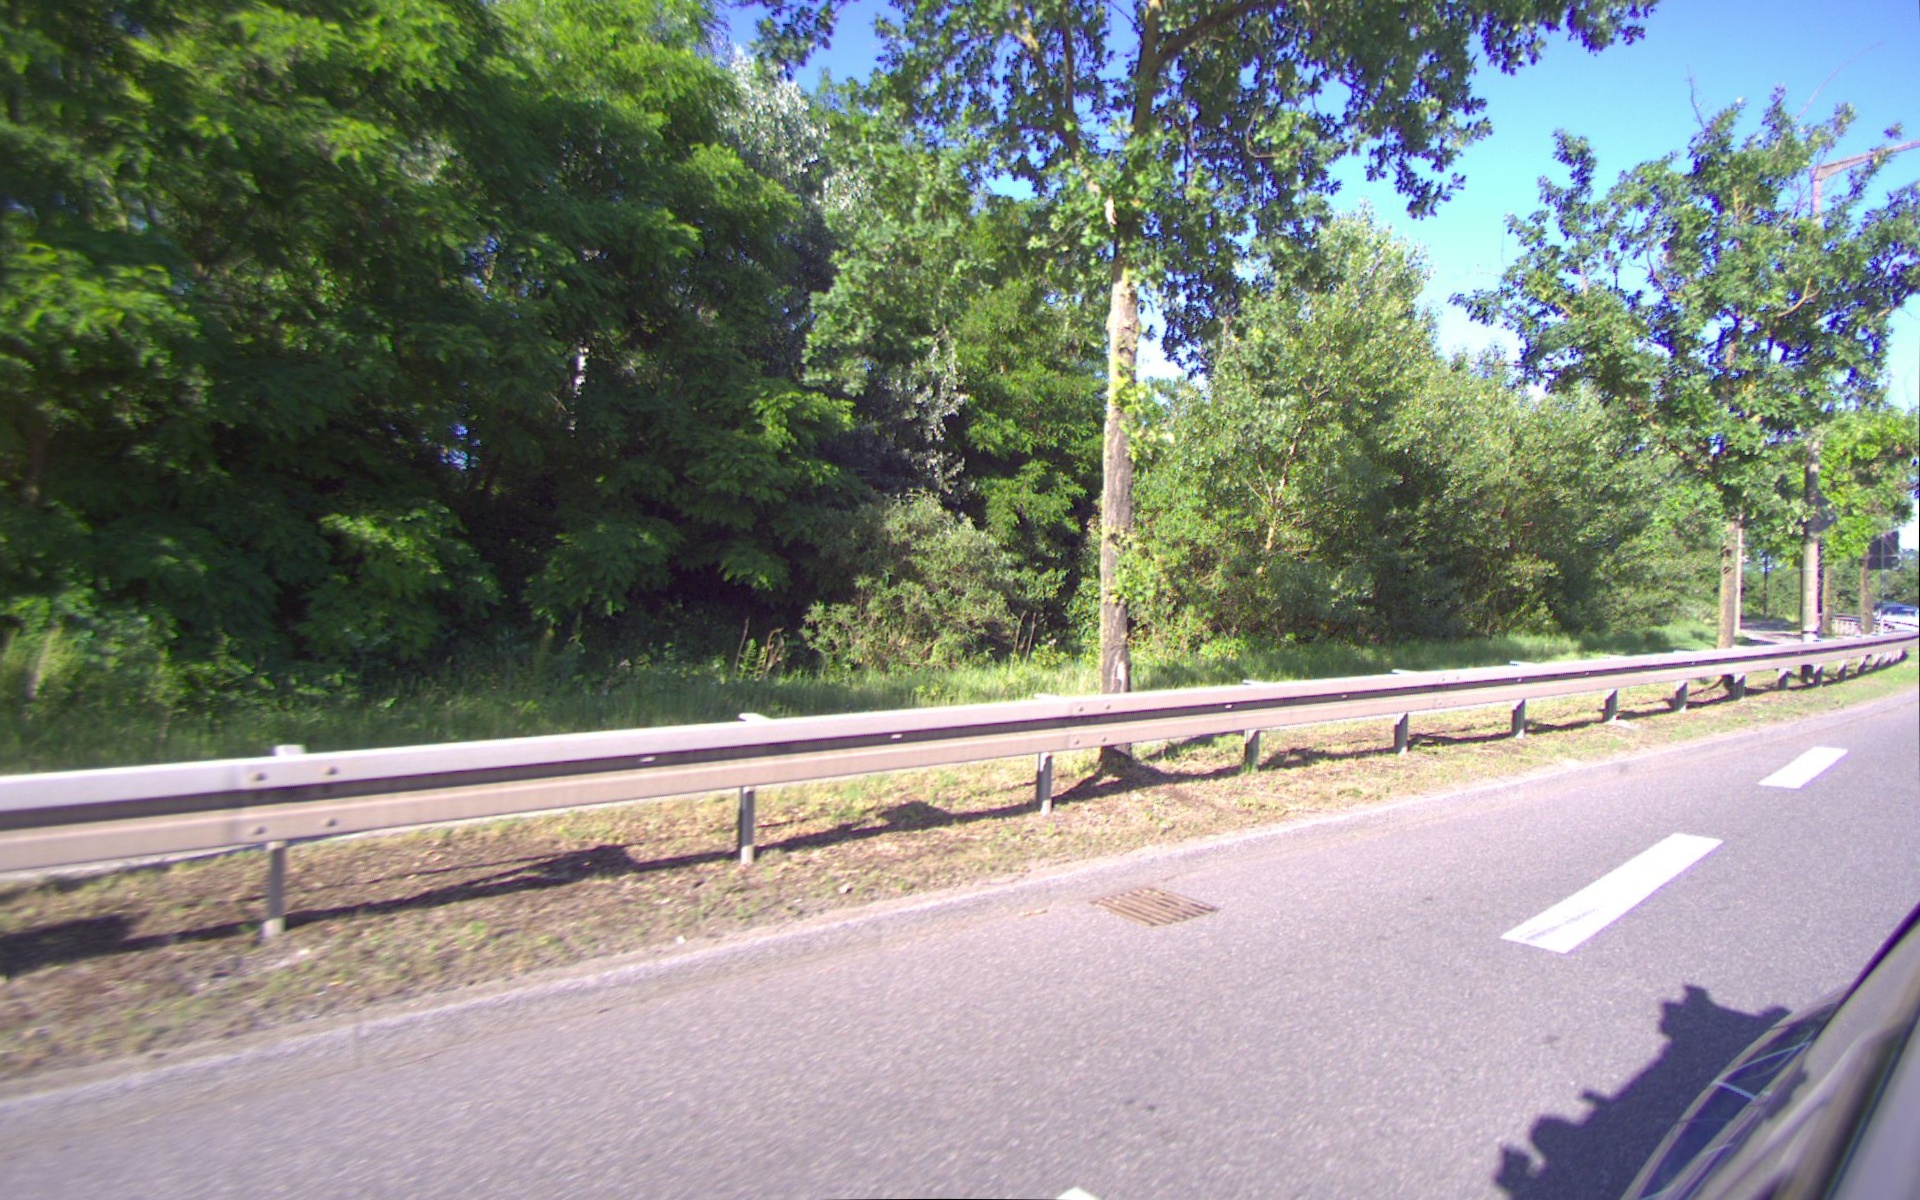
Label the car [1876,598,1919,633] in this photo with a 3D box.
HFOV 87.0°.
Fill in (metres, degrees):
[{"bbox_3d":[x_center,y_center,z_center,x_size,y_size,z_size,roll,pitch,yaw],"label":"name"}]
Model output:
[{"bbox_3d":[46.337,0.753,49.212,2.140,1.586,4.143,5,3,37],"label":"car"}]
